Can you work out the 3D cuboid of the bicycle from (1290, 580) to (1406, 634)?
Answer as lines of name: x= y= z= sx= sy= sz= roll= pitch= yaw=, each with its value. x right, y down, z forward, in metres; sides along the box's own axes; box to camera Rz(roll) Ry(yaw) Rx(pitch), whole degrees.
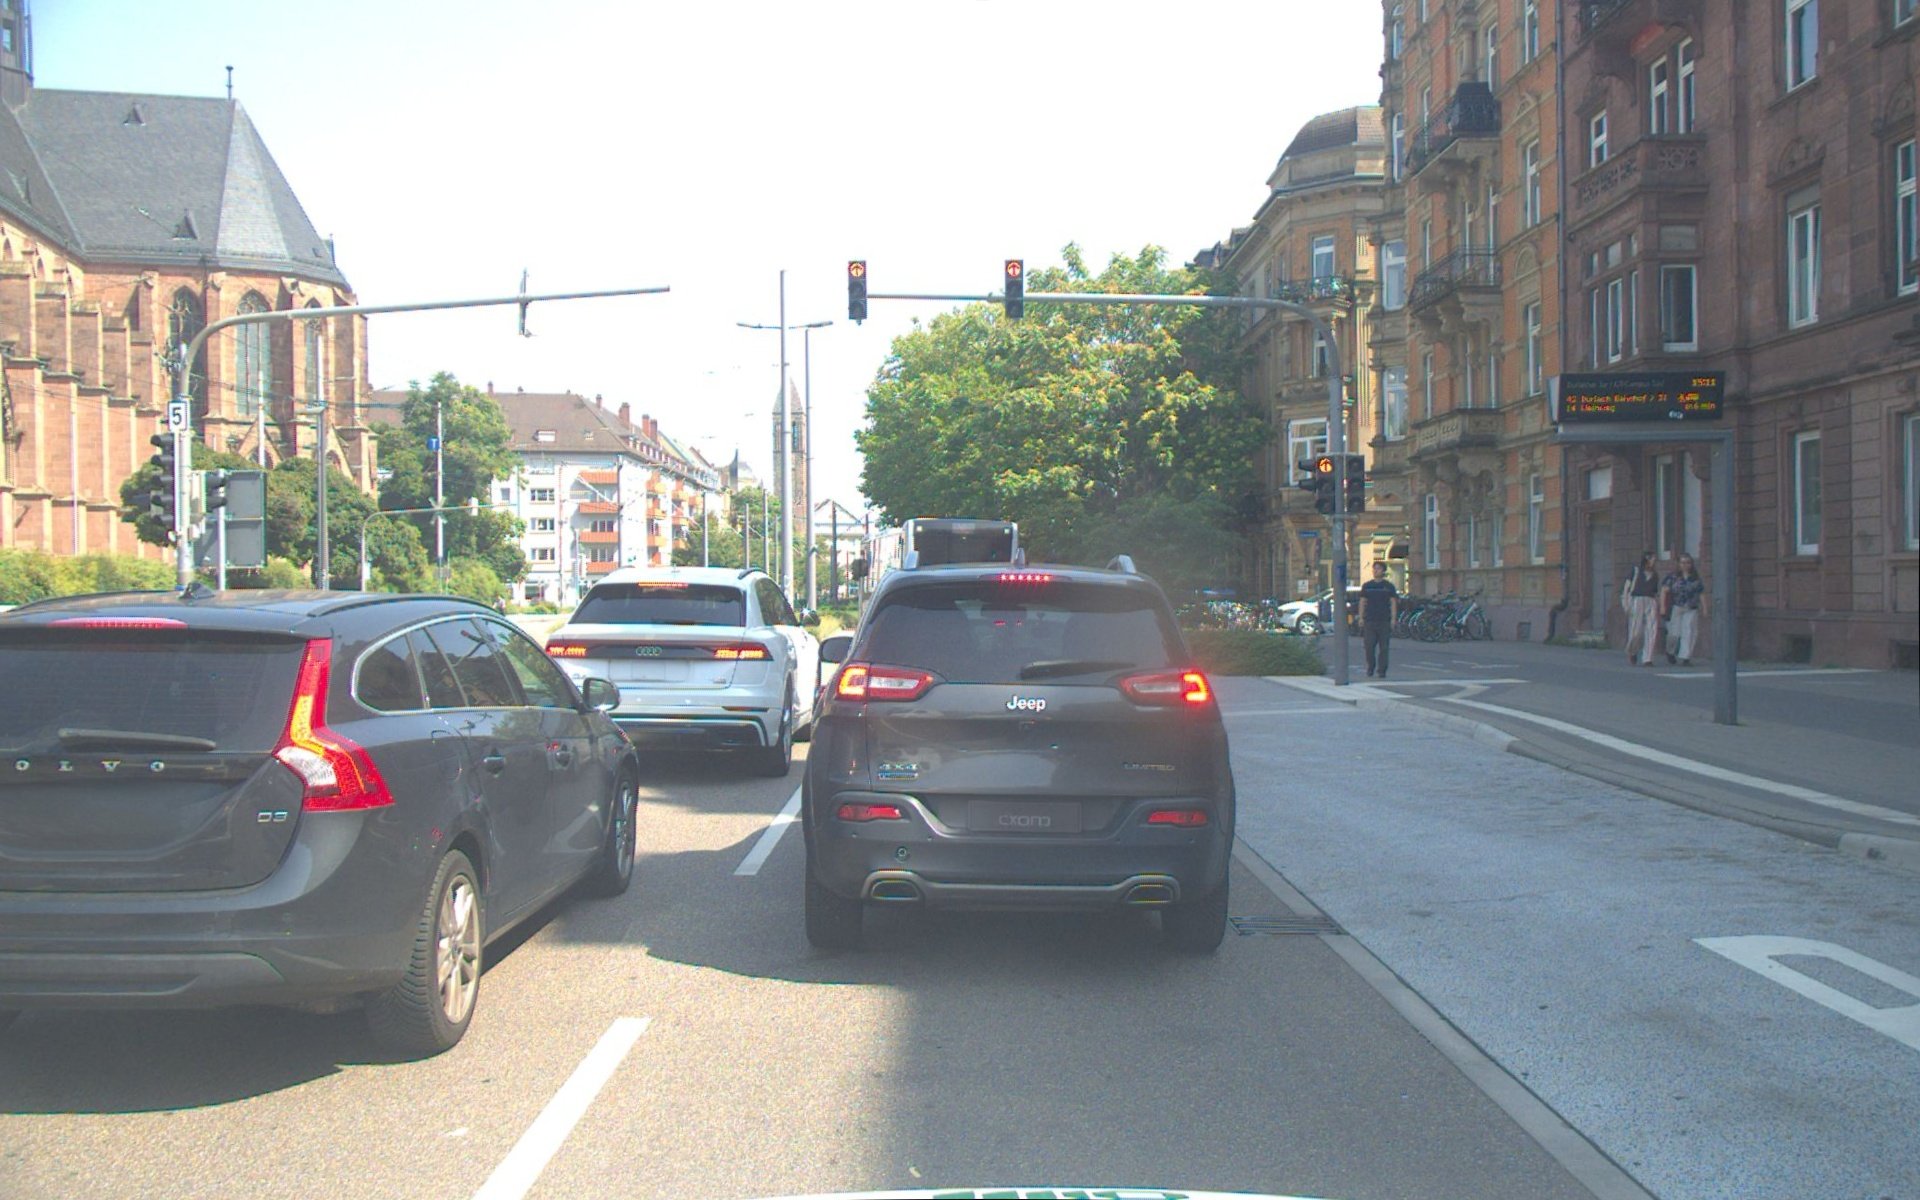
bicycle: x=10.614 y=0.189 z=45.283 sx=2.943 sy=1.397 sz=0.947 roll=-1 pitch=0 yaw=-2

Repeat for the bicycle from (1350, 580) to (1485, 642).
bicycle: x=10.781 y=0.260 z=39.059 sx=2.933 sy=1.395 sz=0.871 roll=-1 pitch=0 yaw=-2

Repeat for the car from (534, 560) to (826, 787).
car: x=-2.256 y=0.526 z=14.468 sx=1.863 sy=1.680 sz=4.308 roll=0 pitch=1 yaw=-1

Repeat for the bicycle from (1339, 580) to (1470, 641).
bicycle: x=10.730 y=0.242 z=39.971 sx=2.933 sy=1.395 sz=0.871 roll=-1 pitch=0 yaw=-2

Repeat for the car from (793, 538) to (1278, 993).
car: x=0.298 y=0.604 z=8.335 sx=1.795 sy=1.680 sz=4.308 roll=1 pitch=0 yaw=0

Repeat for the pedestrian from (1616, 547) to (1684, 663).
pedestrian: x=10.937 y=0.074 z=26.237 sx=0.700 sy=1.807 sz=0.847 roll=-1 pitch=0 yaw=-2

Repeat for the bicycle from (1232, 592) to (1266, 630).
bicycle: x=10.236 y=0.374 z=58.606 sx=0.747 sy=1.275 sz=3.014 roll=-1 pitch=0 yaw=2

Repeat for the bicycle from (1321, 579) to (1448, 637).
bicycle: x=10.726 y=0.206 z=41.862 sx=2.943 sy=1.397 sz=0.947 roll=-1 pitch=0 yaw=-2

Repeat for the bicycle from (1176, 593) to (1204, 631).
bicycle: x=8.130 y=0.411 z=58.586 sx=0.636 sy=1.275 sz=3.014 roll=-1 pitch=0 yaw=1

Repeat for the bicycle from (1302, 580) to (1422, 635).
bicycle: x=10.670 y=0.184 z=43.967 sx=2.943 sy=1.397 sz=0.947 roll=-1 pitch=0 yaw=-2

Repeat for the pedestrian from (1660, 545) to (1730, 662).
pedestrian: x=11.658 y=0.055 z=26.257 sx=0.700 sy=1.809 sz=0.870 roll=-1 pitch=0 yaw=-2

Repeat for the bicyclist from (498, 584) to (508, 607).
bicyclist: x=-26.636 y=-0.281 z=96.387 sx=0.439 sy=1.344 sz=0.425 roll=-1 pitch=0 yaw=3

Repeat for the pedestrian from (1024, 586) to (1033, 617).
pedestrian: x=4.602 y=0.115 z=110.984 sx=0.518 sy=2.049 sz=0.532 roll=-1 pitch=0 yaw=-3

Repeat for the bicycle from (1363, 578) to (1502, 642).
bicycle: x=10.885 y=0.221 z=38.154 sx=2.933 sy=1.395 sz=0.871 roll=-1 pitch=0 yaw=-2

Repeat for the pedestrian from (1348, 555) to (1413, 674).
pedestrian: x=6.423 y=0.218 z=25.313 sx=0.879 sy=1.771 sz=0.769 roll=-2 pitch=0 yaw=12

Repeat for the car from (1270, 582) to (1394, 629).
car: x=12.949 y=0.183 z=57.665 sx=3.858 sy=1.547 sz=1.680 roll=-1 pitch=0 yaw=-8

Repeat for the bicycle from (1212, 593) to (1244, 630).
bicycle: x=9.463 y=0.388 z=58.580 sx=0.717 sy=1.275 sz=3.014 roll=-1 pitch=0 yaw=2

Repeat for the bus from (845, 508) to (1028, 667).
bus: x=-0.890 y=-0.234 z=40.487 sx=2.693 sy=3.161 sz=11.931 roll=-3 pitch=0 yaw=-9

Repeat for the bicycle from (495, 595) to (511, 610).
bicycle: x=-26.630 y=0.138 z=96.395 sx=0.444 sy=0.874 sz=1.476 roll=-1 pitch=0 yaw=3

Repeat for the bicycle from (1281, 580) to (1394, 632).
bicycle: x=10.560 y=0.167 z=46.324 sx=2.943 sy=1.397 sz=0.947 roll=-1 pitch=0 yaw=-2

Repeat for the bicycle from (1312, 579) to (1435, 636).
bicycle: x=10.722 y=0.195 z=42.957 sx=2.943 sy=1.397 sz=0.947 roll=-1 pitch=0 yaw=-2

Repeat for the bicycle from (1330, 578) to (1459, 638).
bicycle: x=10.739 y=0.193 z=40.919 sx=2.933 sy=1.395 sz=0.871 roll=-1 pitch=0 yaw=-2

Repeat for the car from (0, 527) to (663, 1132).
car: x=-2.425 y=0.609 z=6.656 sx=1.712 sy=1.642 sz=4.308 roll=1 pitch=0 yaw=-1

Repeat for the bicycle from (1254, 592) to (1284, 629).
bicycle: x=11.018 y=0.358 z=59.052 sx=0.644 sy=1.271 sz=2.413 roll=-1 pitch=0 yaw=2

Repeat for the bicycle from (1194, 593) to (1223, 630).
bicycle: x=8.777 y=0.397 z=58.571 sx=0.636 sy=1.275 sz=3.014 roll=-1 pitch=0 yaw=1
